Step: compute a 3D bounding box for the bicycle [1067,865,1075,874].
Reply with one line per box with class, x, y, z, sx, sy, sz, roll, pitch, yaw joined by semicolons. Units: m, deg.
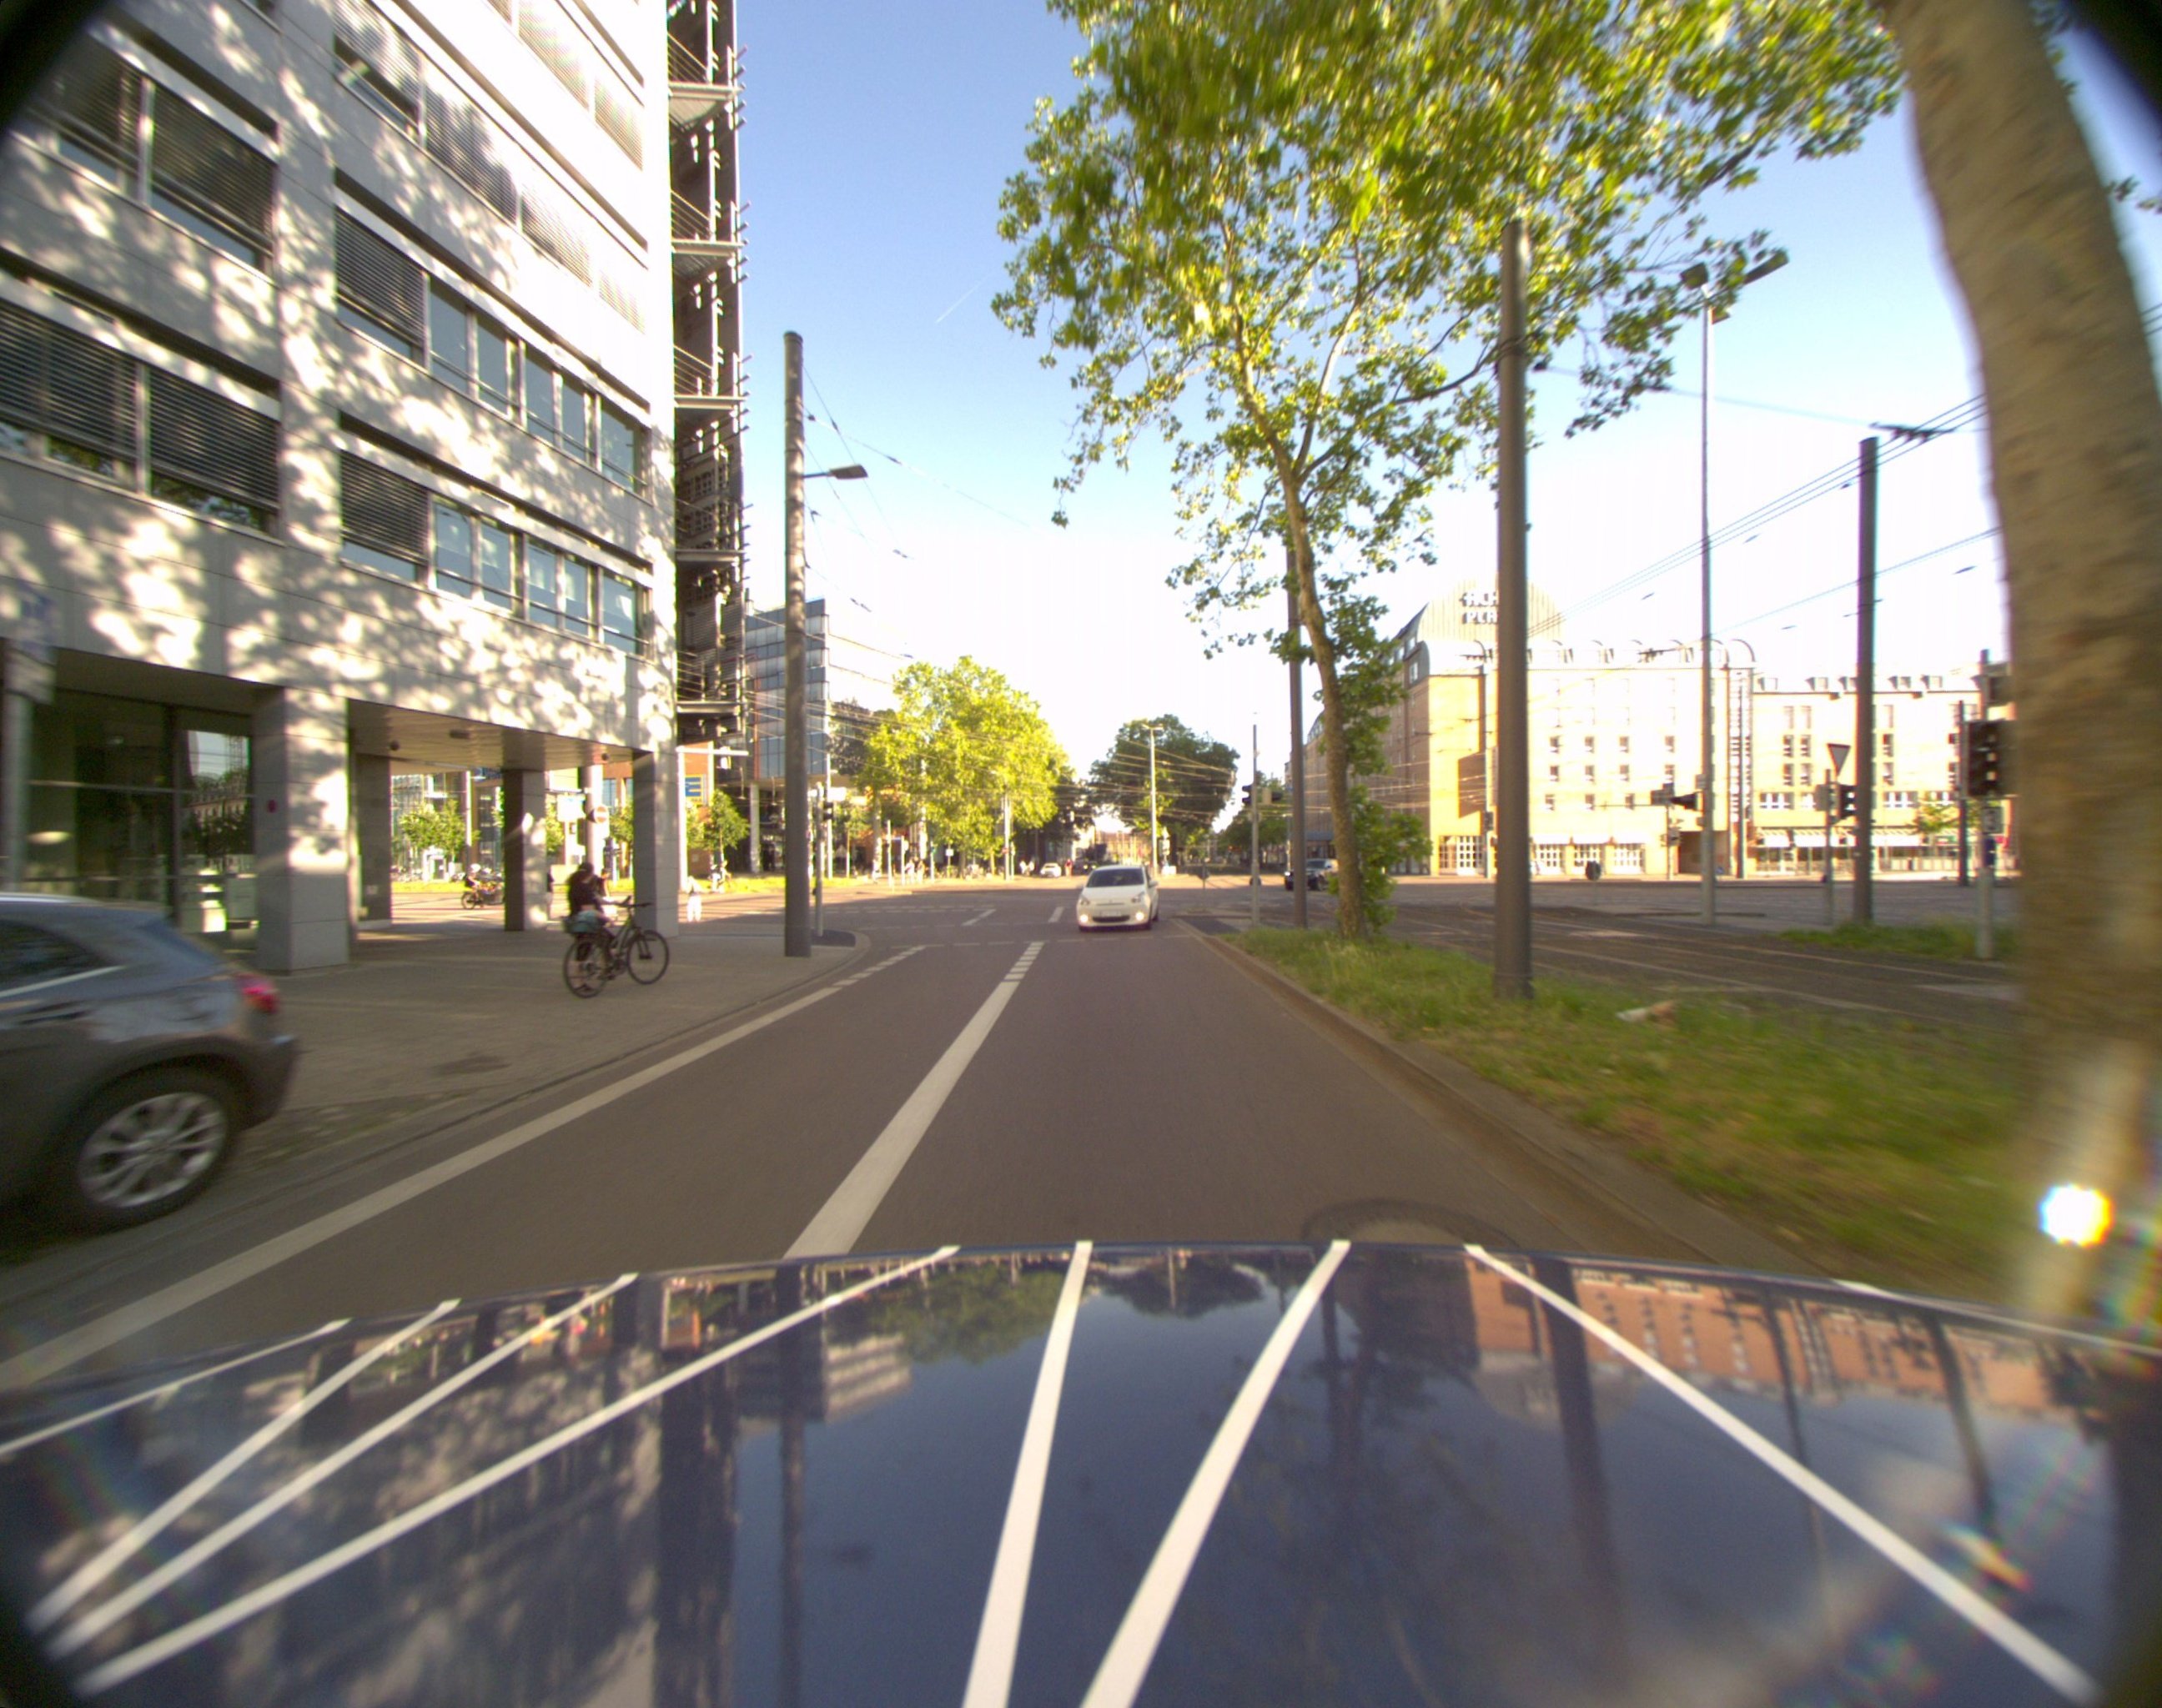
bicycle;-1.073;1.585;78.505;0.651;0.905;1.860;0;0;4

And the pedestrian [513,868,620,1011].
pedestrian;-6.132;0.985;9.103;0.606;1.601;0.838;3;-1;3

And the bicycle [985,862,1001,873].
bicycle;-10.059;1.556;86.878;0.879;1.228;2.926;0;0;-27

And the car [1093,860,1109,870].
car;3.129;1.738;118.766;1.898;1.525;4.003;-1;0;9

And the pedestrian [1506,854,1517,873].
pedestrian;38.967;0.870;68.769;0.695;1.757;0.573;1;0;-22

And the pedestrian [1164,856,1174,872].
pedestrian;8.624;0.981;74.536;0.742;1.530;0.677;-1;-1;-8

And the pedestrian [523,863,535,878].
pedestrian;-57.790;1.752;79.548;0.621;1.560;0.709;0;1;23

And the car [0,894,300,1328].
car;-5.173;1.014;1.804;1.863;1.563;4.416;2;0;5

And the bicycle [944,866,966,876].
bicycle;-14.270;1.903;85.927;2.924;1.085;0.880;0;0;41

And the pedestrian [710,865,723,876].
pedestrian;-35.419;1.632;73.912;0.812;1.051;0.788;0;0;23

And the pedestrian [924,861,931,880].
pedestrian;-13.126;1.399;65.001;0.489;1.573;0.659;0;0;3

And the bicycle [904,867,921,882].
bicycle;-12.166;1.471;54.950;0.515;1.015;1.634;-1;0;13

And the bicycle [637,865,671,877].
bicycle;-40.543;1.635;72.158;3.045;1.107;0.836;0;0;13

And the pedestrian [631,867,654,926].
pedestrian;-12.876;1.239;22.312;0.582;1.698;0.637;0;0;-29

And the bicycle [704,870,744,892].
bicycle;-17.879;1.357;38.060;1.683;1.101;0.644;0;0;1

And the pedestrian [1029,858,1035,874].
pedestrian;-5.356;1.277;83.014;0.642;1.766;0.617;-1;0;0

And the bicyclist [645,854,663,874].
bicyclist;-40.592;0.975;72.174;1.228;1.920;0.836;0;0;13

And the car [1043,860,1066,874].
car;-2.839;1.399;81.180;1.998;1.477;4.002;-1;-1;5

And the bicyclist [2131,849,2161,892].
bicyclist;39.707;0.610;28.232;0.929;1.581;0.684;-1;0;-43

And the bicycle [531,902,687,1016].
bicycle;-5.733;1.227;9.374;0.612;1.156;1.849;3;-1;4

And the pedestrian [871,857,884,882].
pedestrian;-14.956;1.148;55.865;0.514;1.825;0.704;-1;-1;36

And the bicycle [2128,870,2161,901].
bicycle;39.702;1.144;28.253;1.924;1.073;0.615;-1;0;-44

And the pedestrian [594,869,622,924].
pedestrian;-14.047;1.257;22.578;0.661;1.591;0.702;0;-1;-30

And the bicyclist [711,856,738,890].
bicyclist;-17.895;0.946;38.171;0.993;1.657;0.766;0;0;1

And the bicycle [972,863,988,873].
bicycle;-11.720;1.614;88.308;0.879;1.085;2.926;0;0;-27

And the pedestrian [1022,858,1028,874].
pedestrian;-6.088;1.286;82.822;0.642;1.766;0.617;-1;0;0

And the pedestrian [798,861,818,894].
pedestrian;-15.204;1.295;42.282;0.676;1.813;0.885;-1;1;6

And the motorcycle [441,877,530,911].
motorcycle;-22.879;1.520;29.218;2.938;1.224;0.987;-1;0;11

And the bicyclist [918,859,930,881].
bicyclist;-11.909;1.214;57.688;0.569;1.685;0.745;-1;1;11

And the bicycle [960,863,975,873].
bicycle;-13.192;1.624;87.967;0.879;1.085;2.926;0;0;-27

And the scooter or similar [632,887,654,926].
scooter or similar;-13.276;1.574;23.028;0.551;1.123;1.016;0;0;-29

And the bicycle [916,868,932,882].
bicycle;-11.890;1.557;57.613;0.515;1.015;1.860;-1;0;12

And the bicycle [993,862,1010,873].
bicycle;-9.142;1.557;87.375;0.879;1.228;2.926;0;0;-27

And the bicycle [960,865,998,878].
bicycle;-9.028;1.578;67.577;3.176;1.126;1.044;0;0;4

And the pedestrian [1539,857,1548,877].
pedestrian;41.779;1.172;68.616;0.577;1.764;0.406;1;3;43

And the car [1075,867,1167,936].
car;1.080;1.050;18.436;1.638;1.458;4.190;0;0;11

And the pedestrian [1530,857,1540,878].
pedestrian;40.872;1.199;68.346;0.734;1.823;0.497;-2;2;-35

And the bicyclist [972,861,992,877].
bicyclist;-8.765;1.313;67.571;1.562;1.373;1.044;0;0;4

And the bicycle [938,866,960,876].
bicycle;-14.801;1.890;85.139;2.924;1.085;0.880;0;0;41

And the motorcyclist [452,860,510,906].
motorcyclist;-23.082;1.103;29.266;1.458;1.721;1.023;0;0;11

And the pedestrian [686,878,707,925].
pedestrian;-11.762;1.432;23.240;0.547;1.393;0.637;0;0;-29

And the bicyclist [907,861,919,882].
bicyclist;-12.155;1.269;54.987;0.569;1.494;0.746;-1;1;13

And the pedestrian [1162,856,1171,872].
pedestrian;8.460;1.003;75.303;0.742;1.530;0.651;-1;-1;-8

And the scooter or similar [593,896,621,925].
scooter or similar;-13.712;1.632;21.985;0.661;0.786;0.616;0;-1;-30

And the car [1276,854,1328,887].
car;12.090;0.917;41.761;1.954;1.652;4.358;-1;-1;6

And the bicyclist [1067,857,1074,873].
bicyclist;-1.074;1.110;78.515;0.637;1.605;0.929;0;0;4
